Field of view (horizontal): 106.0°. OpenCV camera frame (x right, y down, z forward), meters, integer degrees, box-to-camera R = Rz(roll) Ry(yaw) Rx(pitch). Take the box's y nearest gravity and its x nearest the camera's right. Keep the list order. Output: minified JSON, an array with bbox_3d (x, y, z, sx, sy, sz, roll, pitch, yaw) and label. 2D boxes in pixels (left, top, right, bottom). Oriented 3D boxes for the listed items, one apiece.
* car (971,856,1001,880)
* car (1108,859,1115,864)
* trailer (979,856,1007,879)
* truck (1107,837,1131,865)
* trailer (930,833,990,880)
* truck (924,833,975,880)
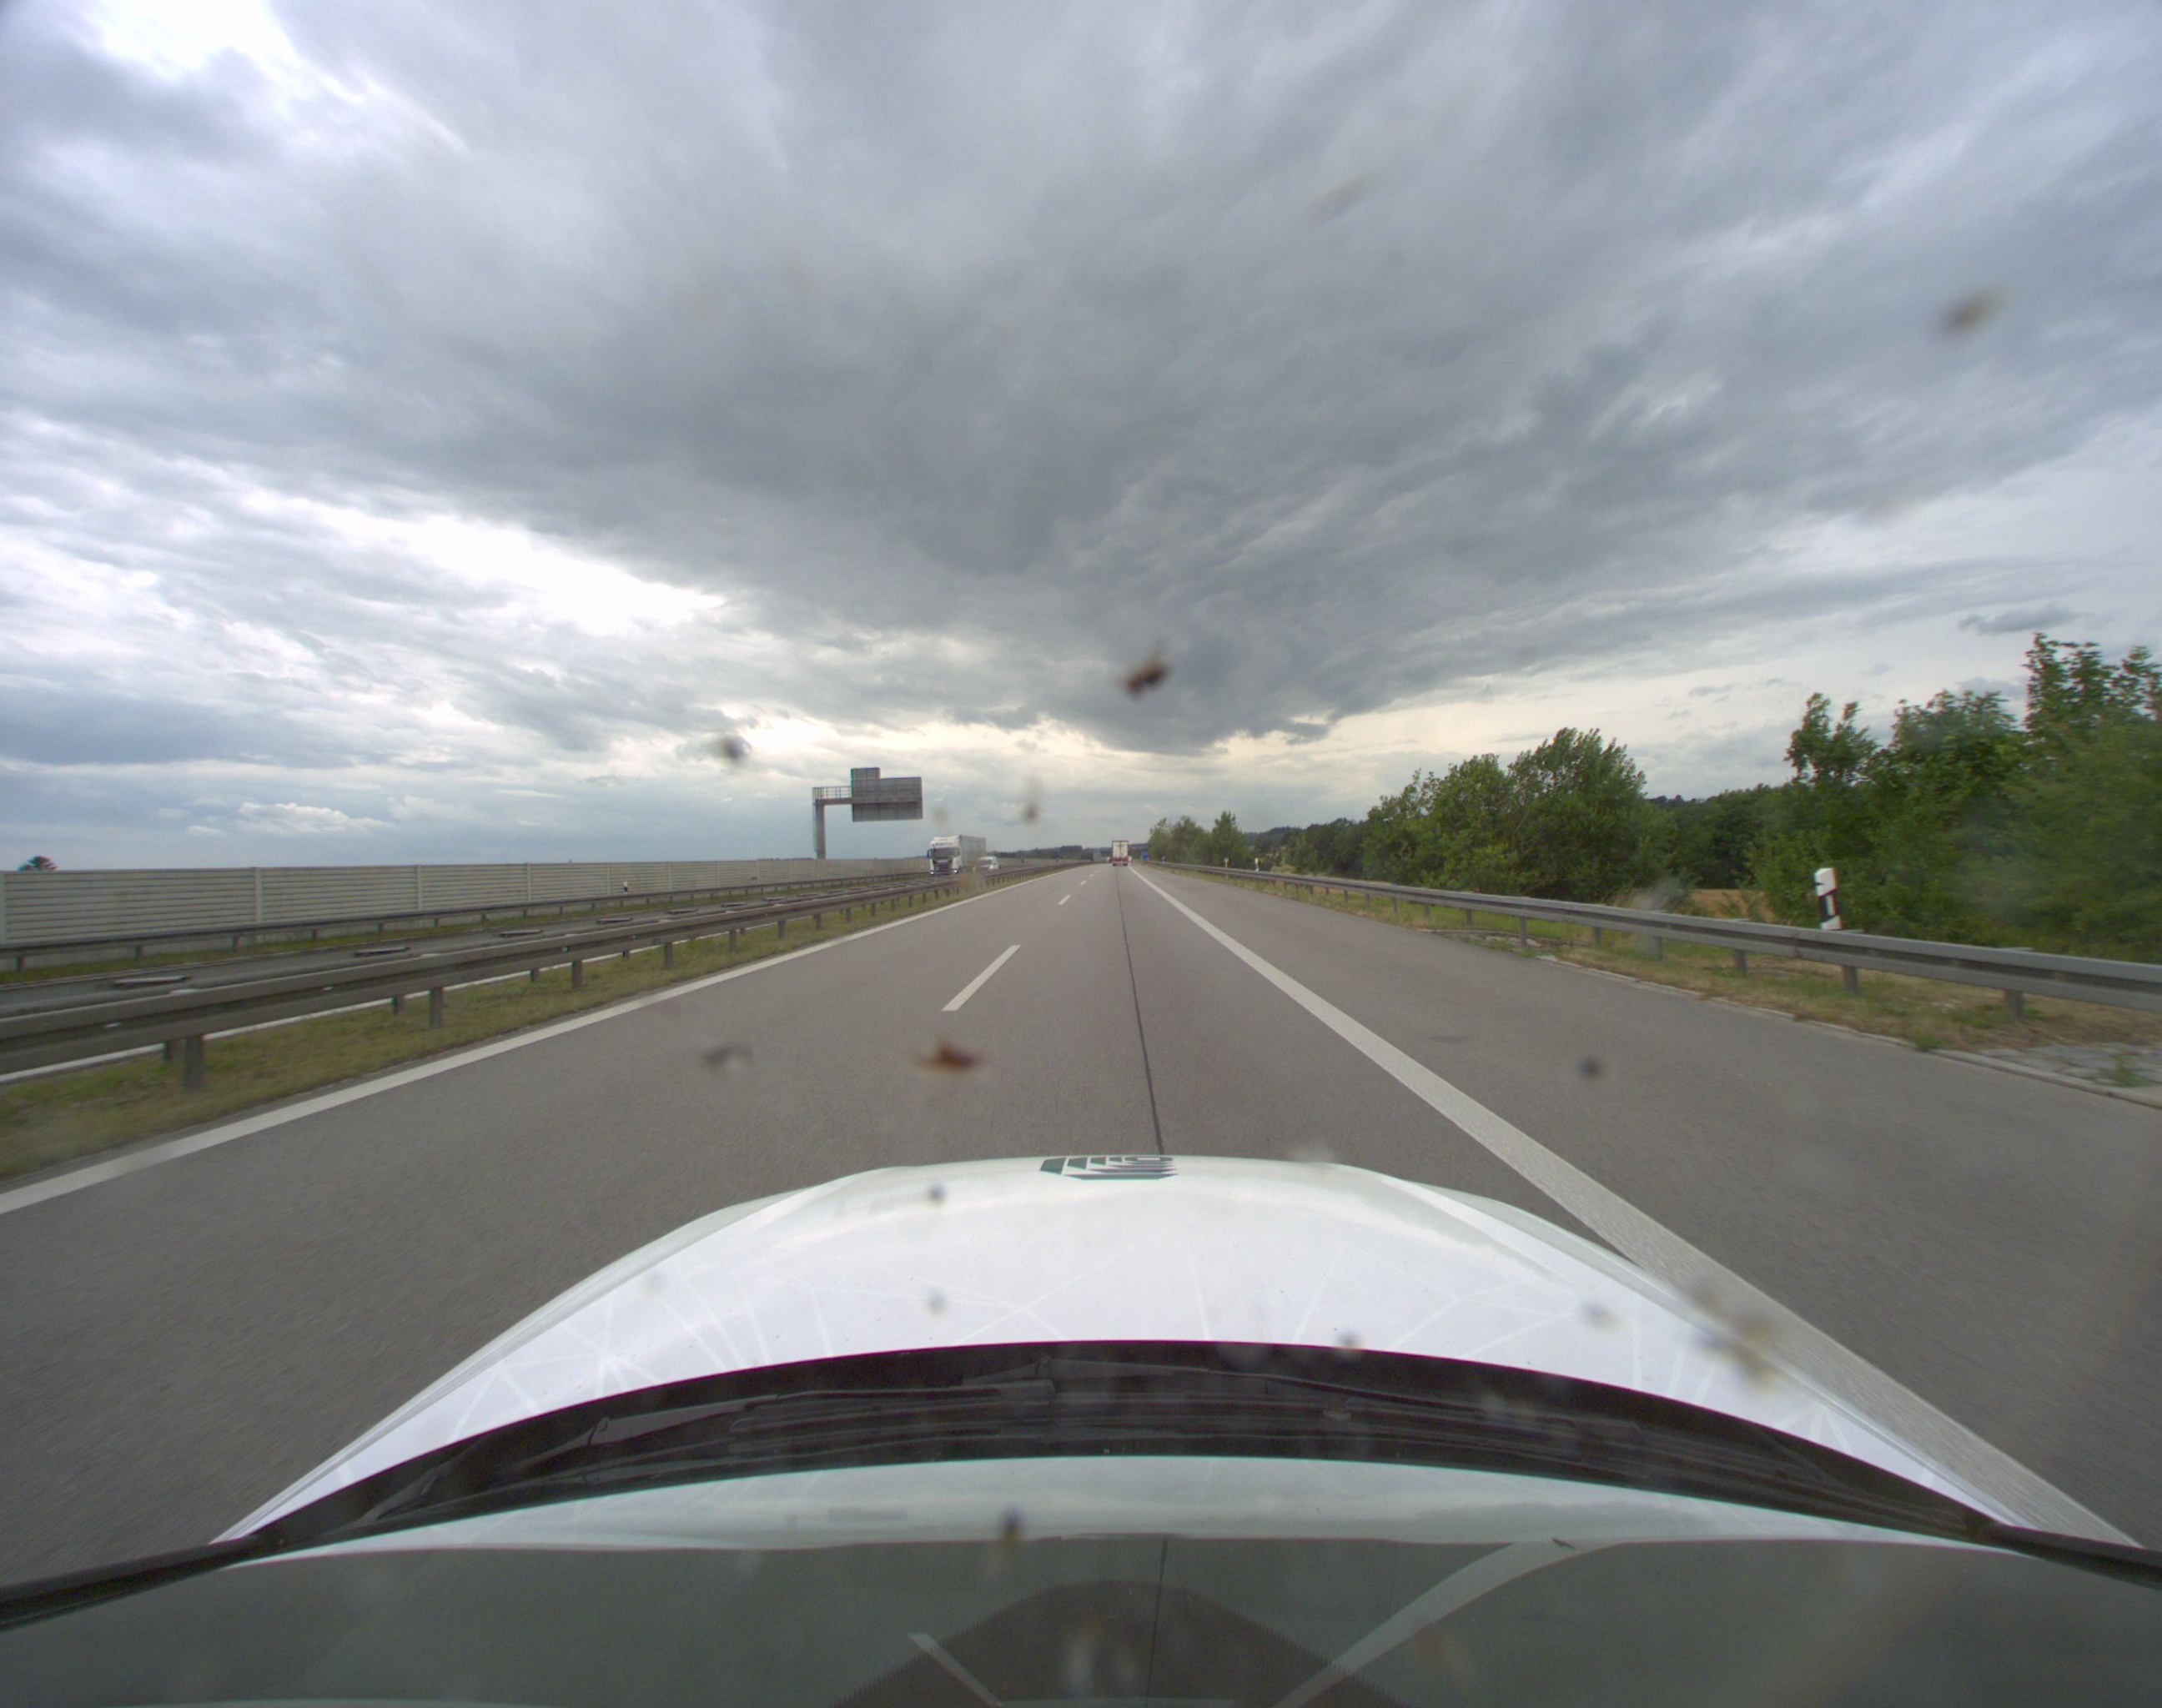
[{"bbox_3d":[-7.944,1.173,68.314,1.807,1.847,4.183,3,0,2],"label":"car"},{"bbox_3d":[9.500,2.263,257.119,1.987,1.420,3.999,0,1,0],"label":"car"},{"bbox_3d":[-7.792,1.205,72.348,1.807,1.847,3.865,3,0,2],"label":"trailer"},{"bbox_3d":[6.369,-0.426,137.149,3.658,4.412,16.350,-2,-1,2],"label":"truck"},{"bbox_3d":[-11.832,0.234,81.289,3.167,4.076,14.030,-3,0,2],"label":"trailer"},{"bbox_3d":[-12.080,0.226,75.491,3.097,4.014,7.327,-3,0,2],"label":"truck"}]
